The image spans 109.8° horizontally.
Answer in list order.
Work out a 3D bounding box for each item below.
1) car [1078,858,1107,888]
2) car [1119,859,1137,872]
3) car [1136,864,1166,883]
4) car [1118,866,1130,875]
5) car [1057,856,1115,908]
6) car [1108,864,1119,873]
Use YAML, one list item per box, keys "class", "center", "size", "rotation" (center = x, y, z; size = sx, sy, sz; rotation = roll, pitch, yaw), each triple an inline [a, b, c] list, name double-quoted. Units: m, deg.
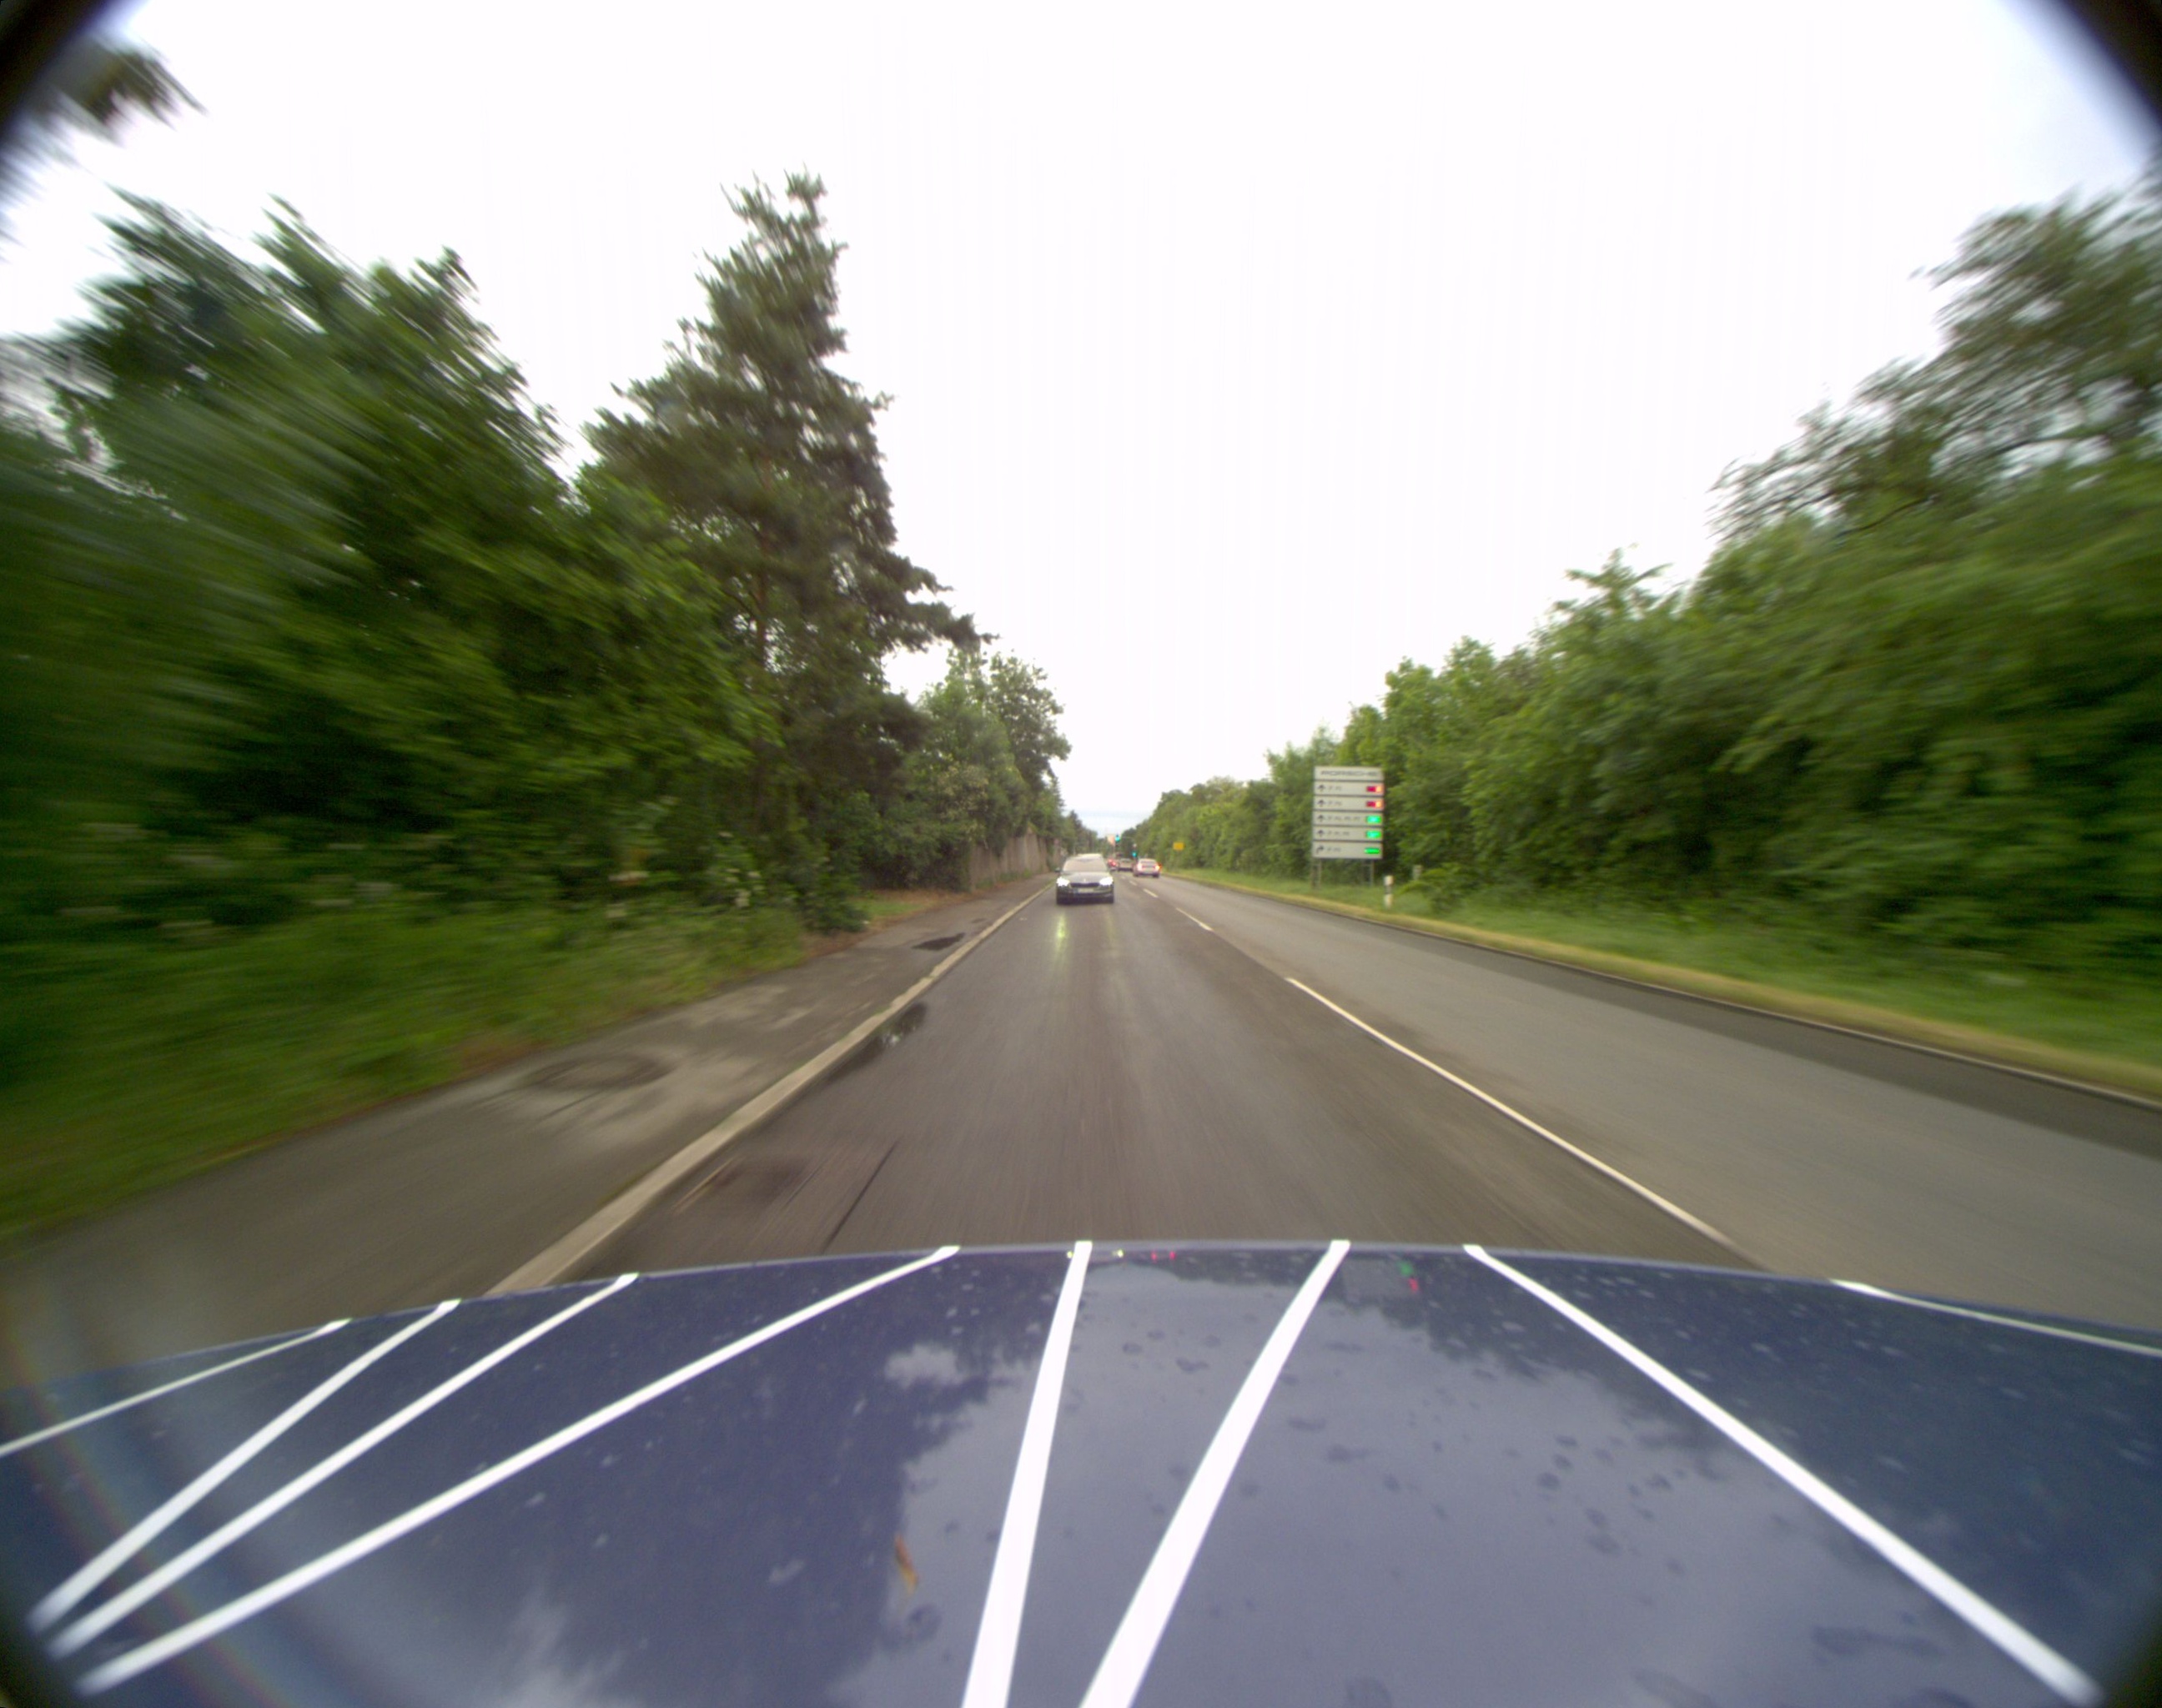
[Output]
- class: "car"
  center: [0.655, 1.115, 46.443]
  size: [1.704, 1.723, 4.000]
  rotation: [0, 0, 0]
- class: "car"
  center: [5.350, 1.329, 87.031]
  size: [1.830, 1.411, 4.320]
  rotation: [1, -1, 1]
- class: "car"
  center: [5.345, 1.495, 58.790]
  size: [1.896, 1.346, 4.382]
  rotation: [0, 0, 0]
- class: "car"
  center: [7.016, 2.636, 123.790]
  size: [1.806, 1.423, 4.179]
  rotation: [2, -1, 1]
- class: "car"
  center: [0.171, 0.871, 24.538]
  size: [1.675, 1.477, 4.215]
  rotation: [-2, -1, 1]
- class: "car"
  center: [6.009, 2.702, 141.026]
  size: [1.737, 1.584, 4.282]
  rotation: [2, -1, -1]
